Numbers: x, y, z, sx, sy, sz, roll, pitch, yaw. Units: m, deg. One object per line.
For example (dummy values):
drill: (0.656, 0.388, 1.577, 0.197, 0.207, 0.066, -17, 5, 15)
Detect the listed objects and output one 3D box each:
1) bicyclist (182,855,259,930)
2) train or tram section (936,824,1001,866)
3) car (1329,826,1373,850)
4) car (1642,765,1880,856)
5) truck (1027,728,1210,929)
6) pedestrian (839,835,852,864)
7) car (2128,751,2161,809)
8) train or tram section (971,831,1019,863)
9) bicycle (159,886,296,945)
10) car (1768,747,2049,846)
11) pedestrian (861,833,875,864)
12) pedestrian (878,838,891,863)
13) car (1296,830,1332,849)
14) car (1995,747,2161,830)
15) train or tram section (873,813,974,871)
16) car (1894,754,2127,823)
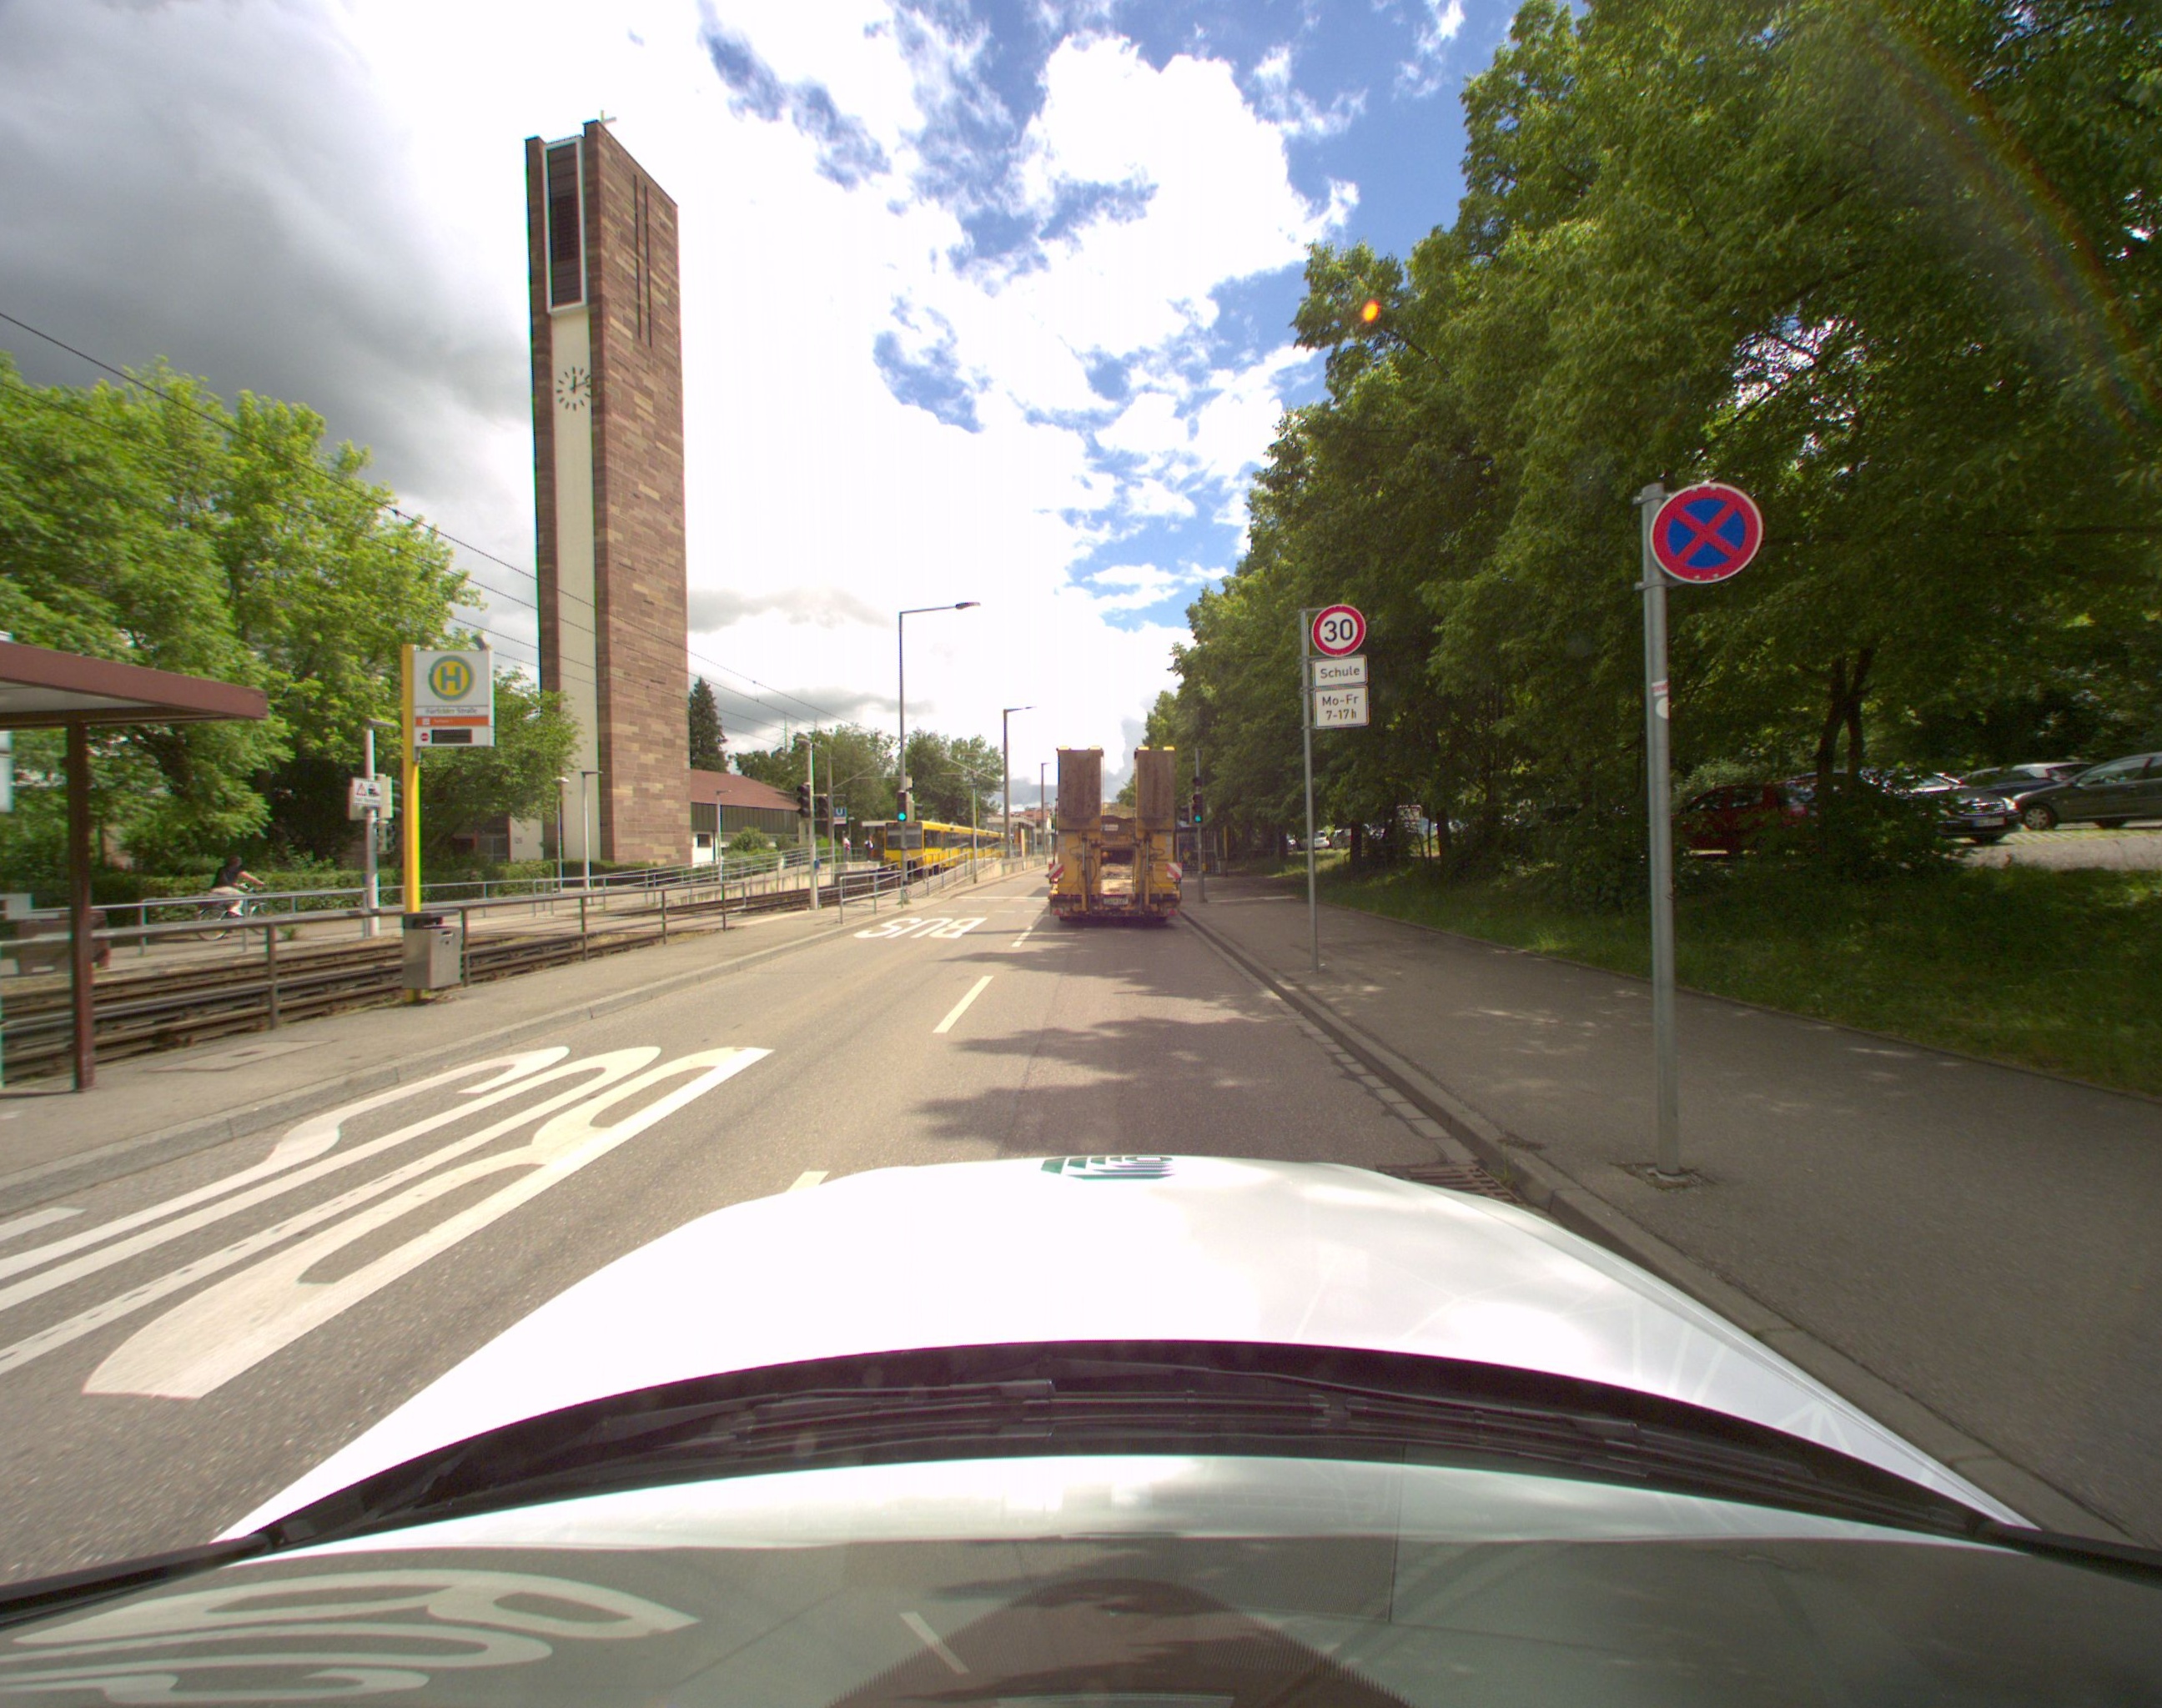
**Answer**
bicyclist: (-16.746, 0.729, 15.863, 0.631, 1.429, 0.790, 0, 0, 1)
train or tram section: (-10.278, -0.757, 77.077, 3.097, 3.464, 19.001, 0, 0, 1)
car: (18.459, -1.075, 55.811, 1.607, 1.442, 4.354, -4, 0, 1)
car: (13.267, -0.776, 16.207, 1.655, 1.500, 3.664, -4, 0, 1)
truck: (0.597, -0.506, 22.226, 3.392, 3.732, 13.732, -1, 0, -1)
pedestrian: (-14.254, -0.283, 49.302, 0.582, 1.778, 0.576, 0, 0, 1)
car: (26.284, -1.811, 17.968, 1.625, 1.328, 3.664, -4, 0, 1)
train or tram section: (-9.873, -0.773, 96.150, 3.097, 3.464, 19.203, 0, 0, 1)
bicycle: (-16.735, 1.177, 16.044, 0.635, 0.993, 1.929, 0, 0, 1)
car: (15.883, -1.009, 15.946, 1.746, 1.582, 3.664, -4, 0, 1)
pedestrian: (-14.019, -0.362, 53.604, 0.710, 2.013, 0.731, 0, 0, -1)
pedestrian: (-13.258, -0.248, 54.978, 0.637, 1.707, 0.646, 0, 0, 1)
car: (19.262, -1.185, 67.527, 1.834, 1.420, 4.125, -4, 0, 2)
car: (20.527, -1.291, 15.534, 1.749, 1.442, 3.858, -4, 0, -1)
train or tram section: (-10.685, -0.721, 58.163, 3.097, 3.464, 18.830, 0, 0, 1)
car: (26.629, -1.813, 23.578, 2.052, 1.624, 4.100, -2, 0, 0)
